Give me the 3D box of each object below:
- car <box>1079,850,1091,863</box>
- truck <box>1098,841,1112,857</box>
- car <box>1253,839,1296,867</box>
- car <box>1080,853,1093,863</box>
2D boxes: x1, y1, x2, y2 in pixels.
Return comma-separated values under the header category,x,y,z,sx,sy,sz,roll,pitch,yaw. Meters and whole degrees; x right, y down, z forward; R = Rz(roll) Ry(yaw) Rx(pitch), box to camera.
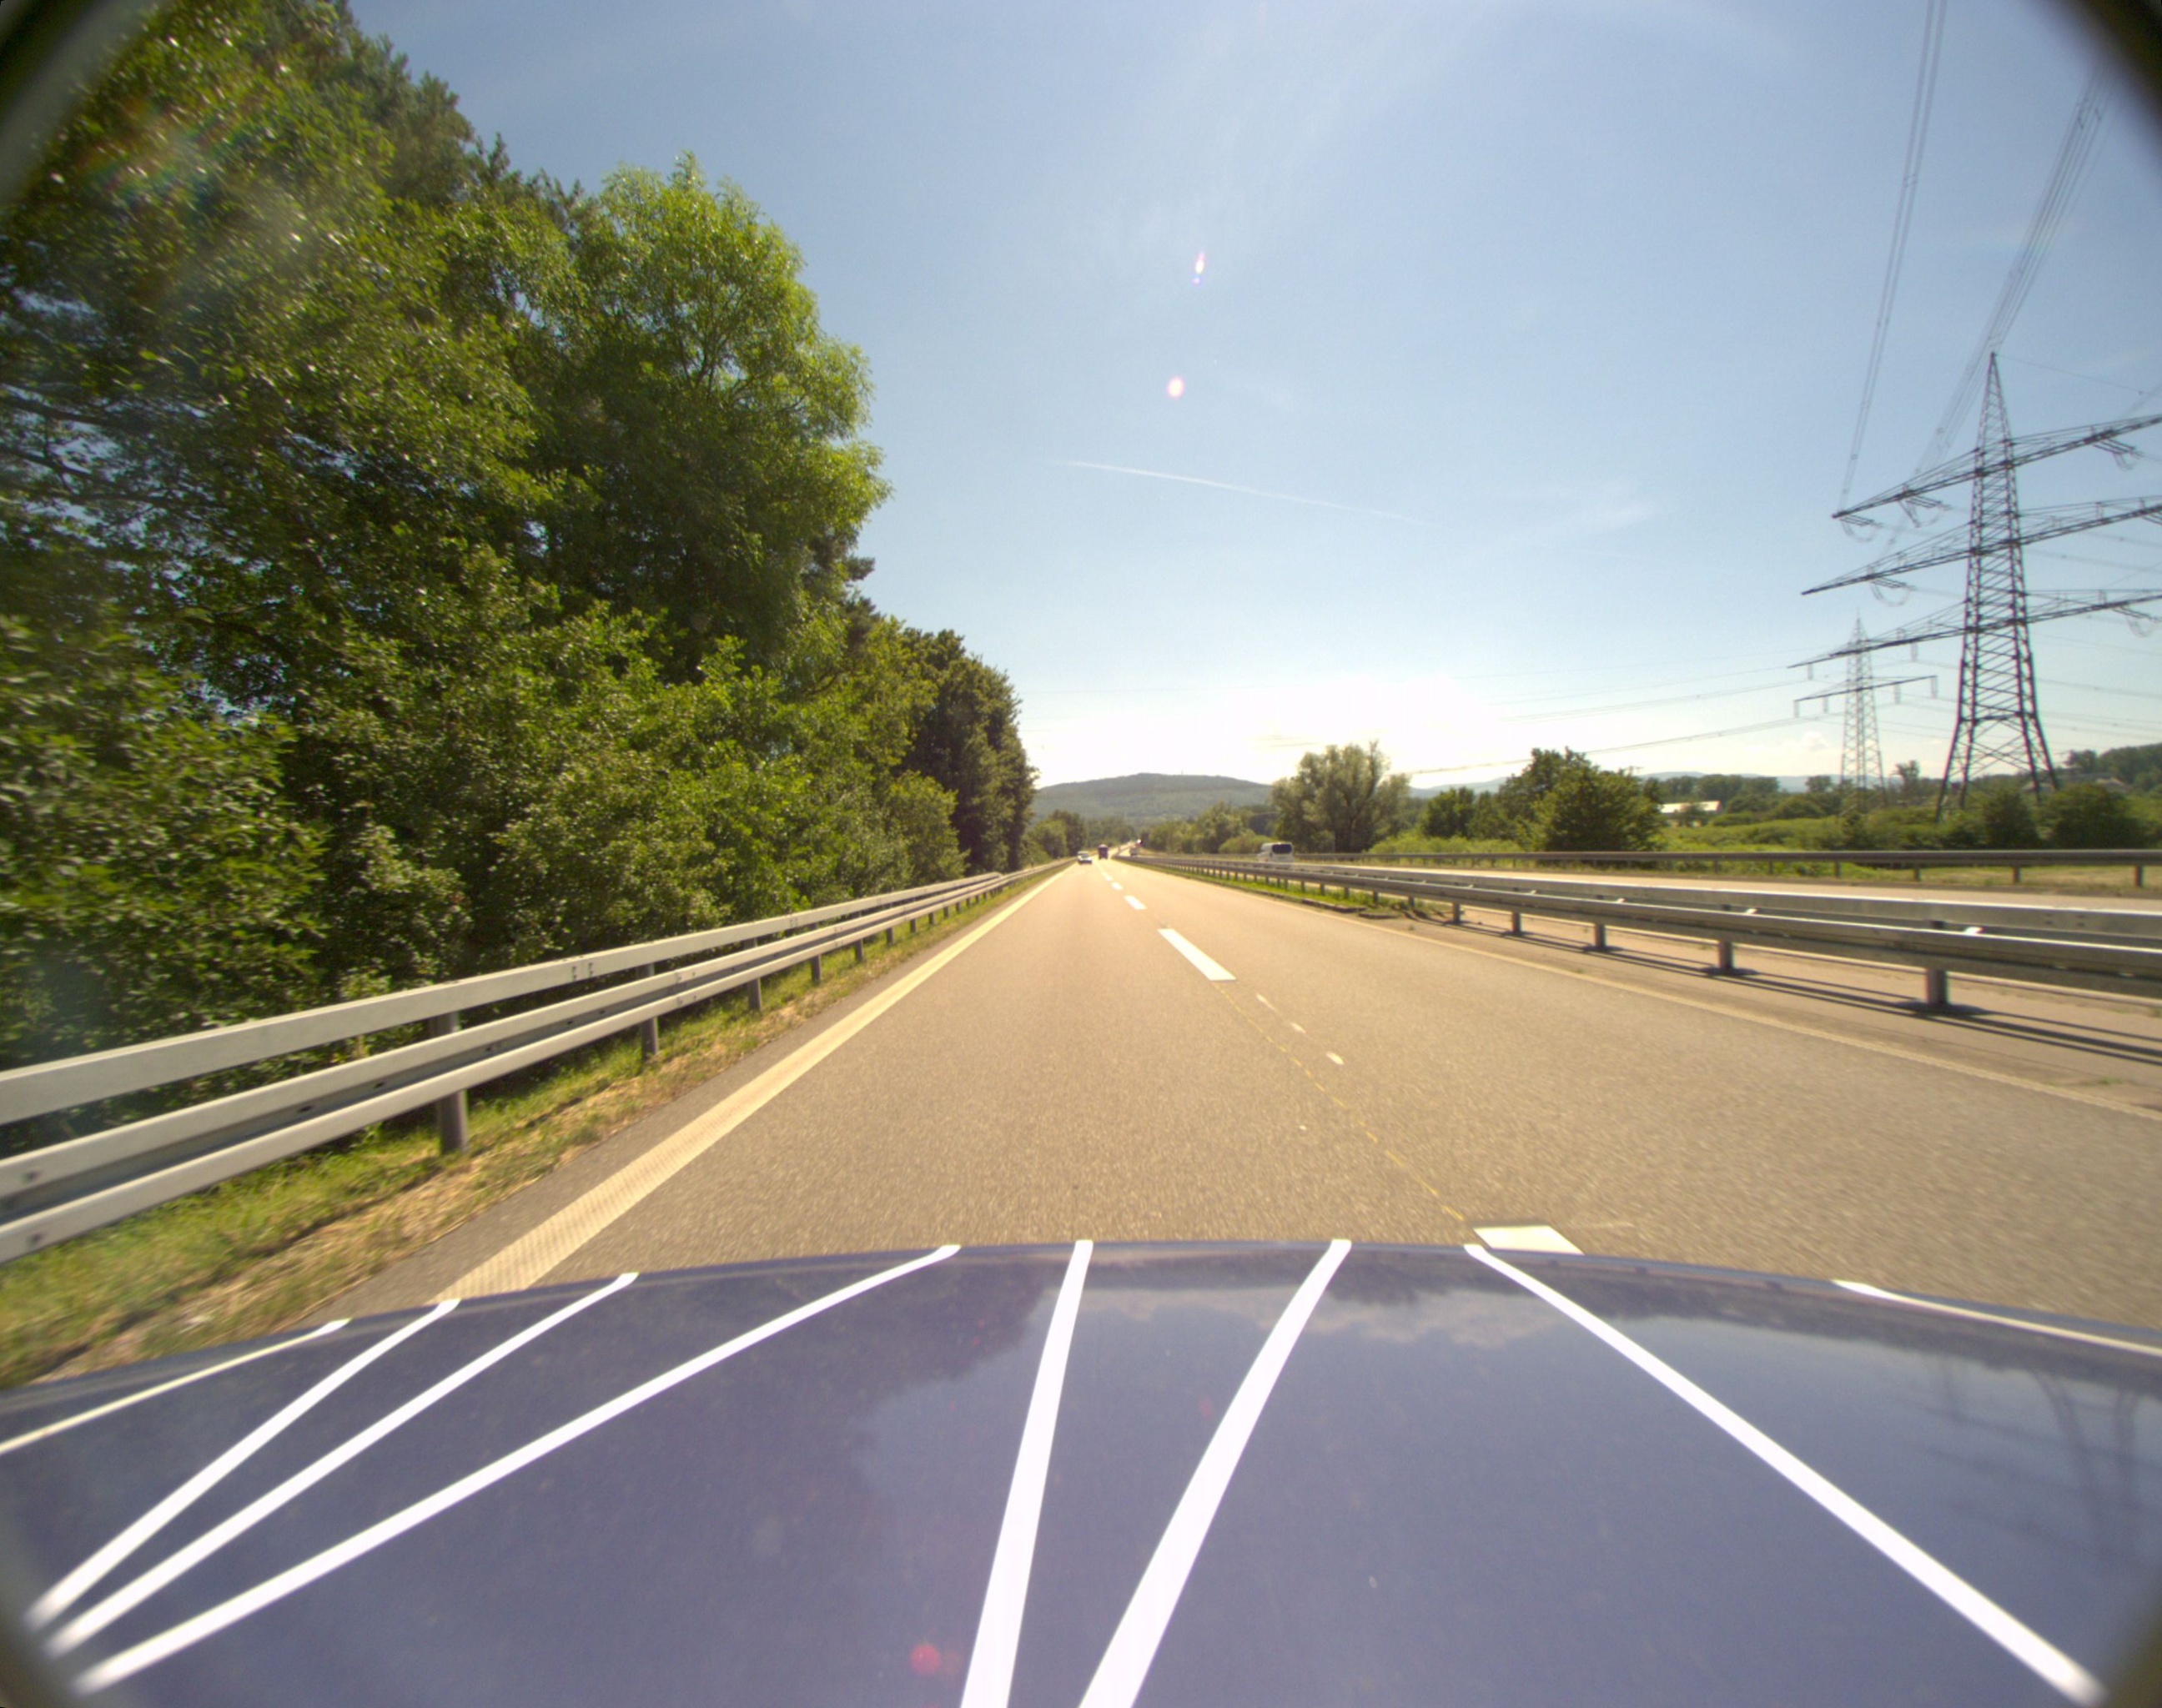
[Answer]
category,x,y,z,sx,sy,sz,roll,pitch,yaw
car,0.723,0.367,129.614,1.619,2.086,3.486,-2,1,5
truck,6.463,-1.492,203.910,2.826,4.143,9.950,-2,1,5
car,14.808,-0.069,58.505,1.896,1.981,5.532,-1,0,0
car,0.887,0.645,113.167,1.577,1.387,3.486,-2,1,5
